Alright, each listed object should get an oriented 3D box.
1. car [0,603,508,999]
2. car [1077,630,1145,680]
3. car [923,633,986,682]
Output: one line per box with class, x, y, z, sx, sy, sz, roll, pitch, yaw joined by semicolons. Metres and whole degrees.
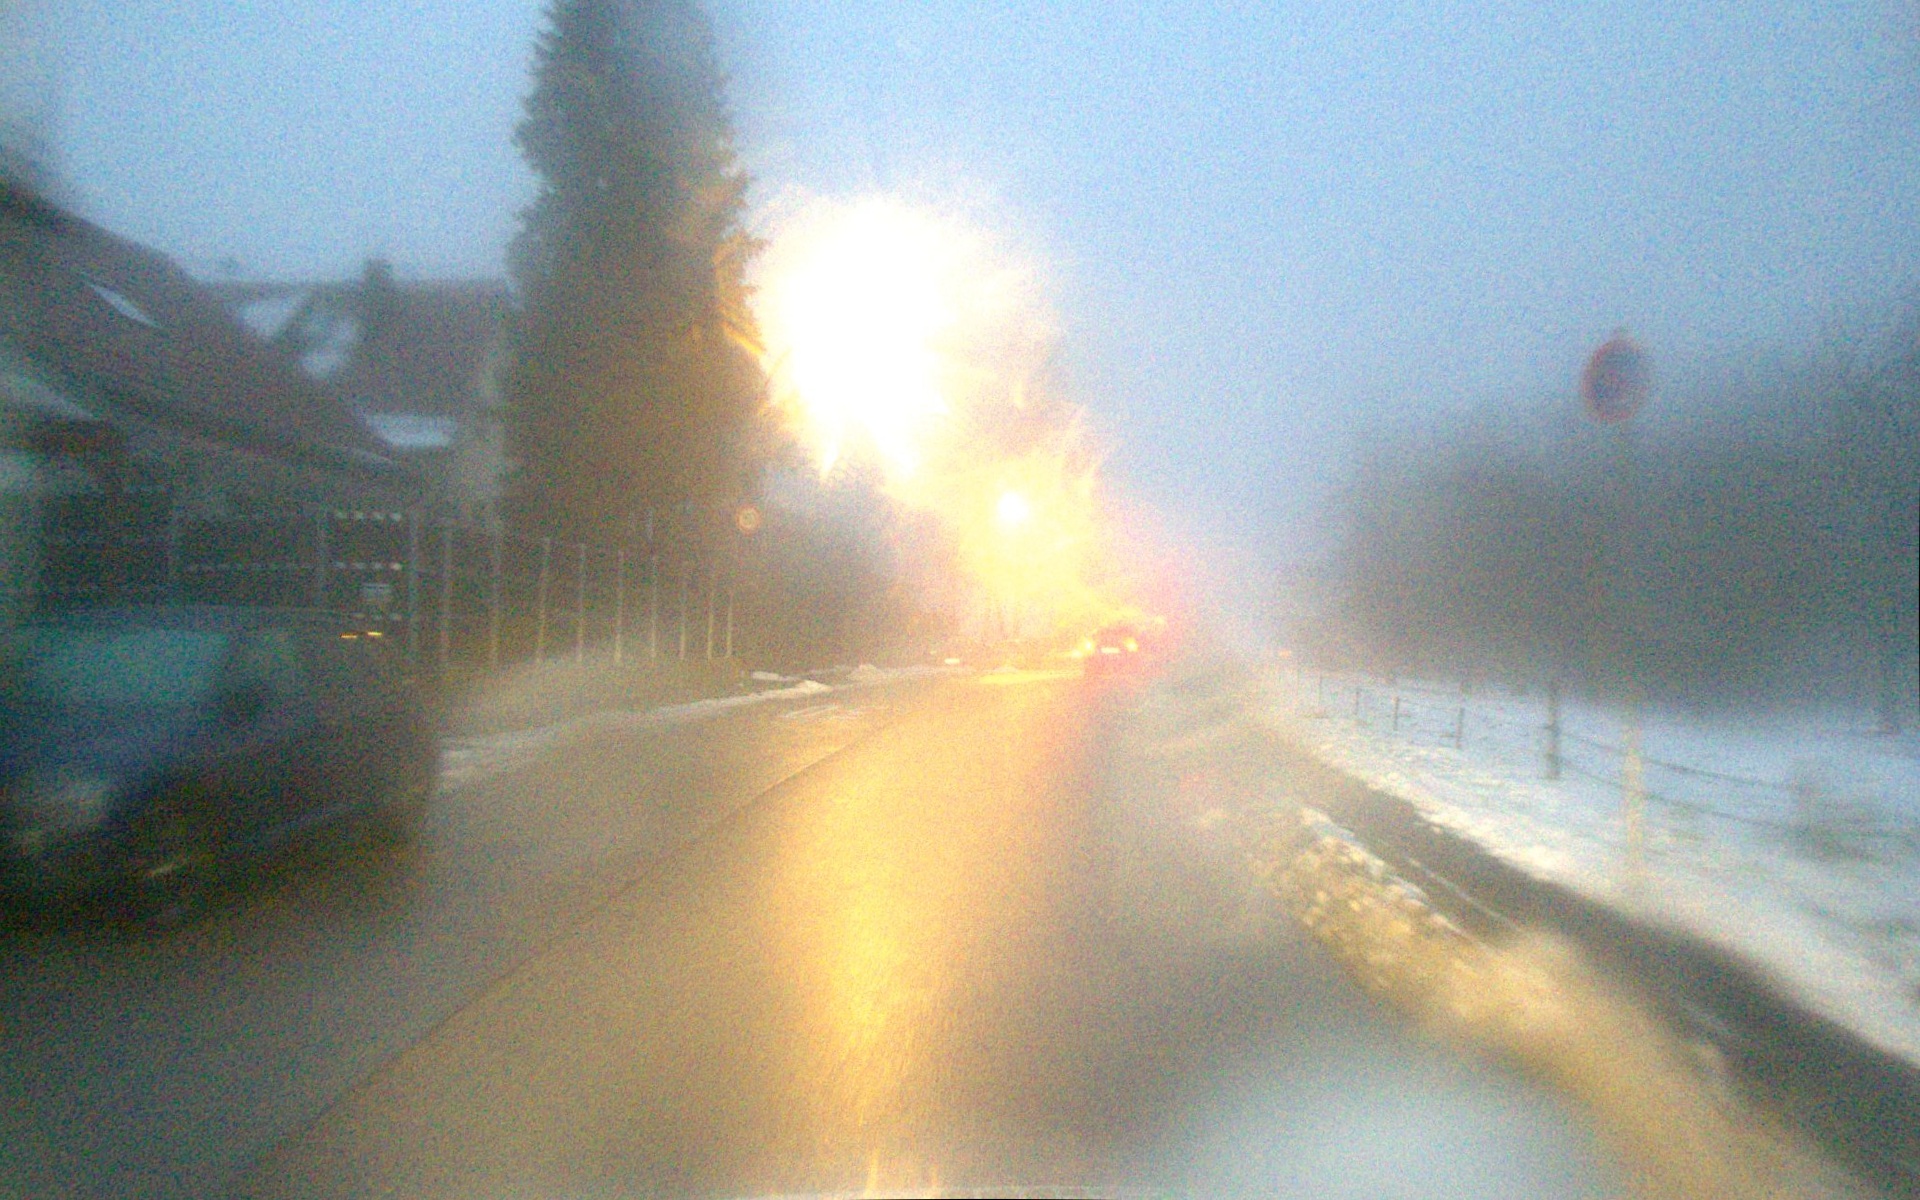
car;-4.222;0.766;8.918;1.838;1.451;5.393;2;0;3
car;4.605;1.657;50.089;1.951;1.445;4.002;0;-2;6
car;-0.253;2.187;61.805;1.954;1.594;4.992;-3;-3;-4
